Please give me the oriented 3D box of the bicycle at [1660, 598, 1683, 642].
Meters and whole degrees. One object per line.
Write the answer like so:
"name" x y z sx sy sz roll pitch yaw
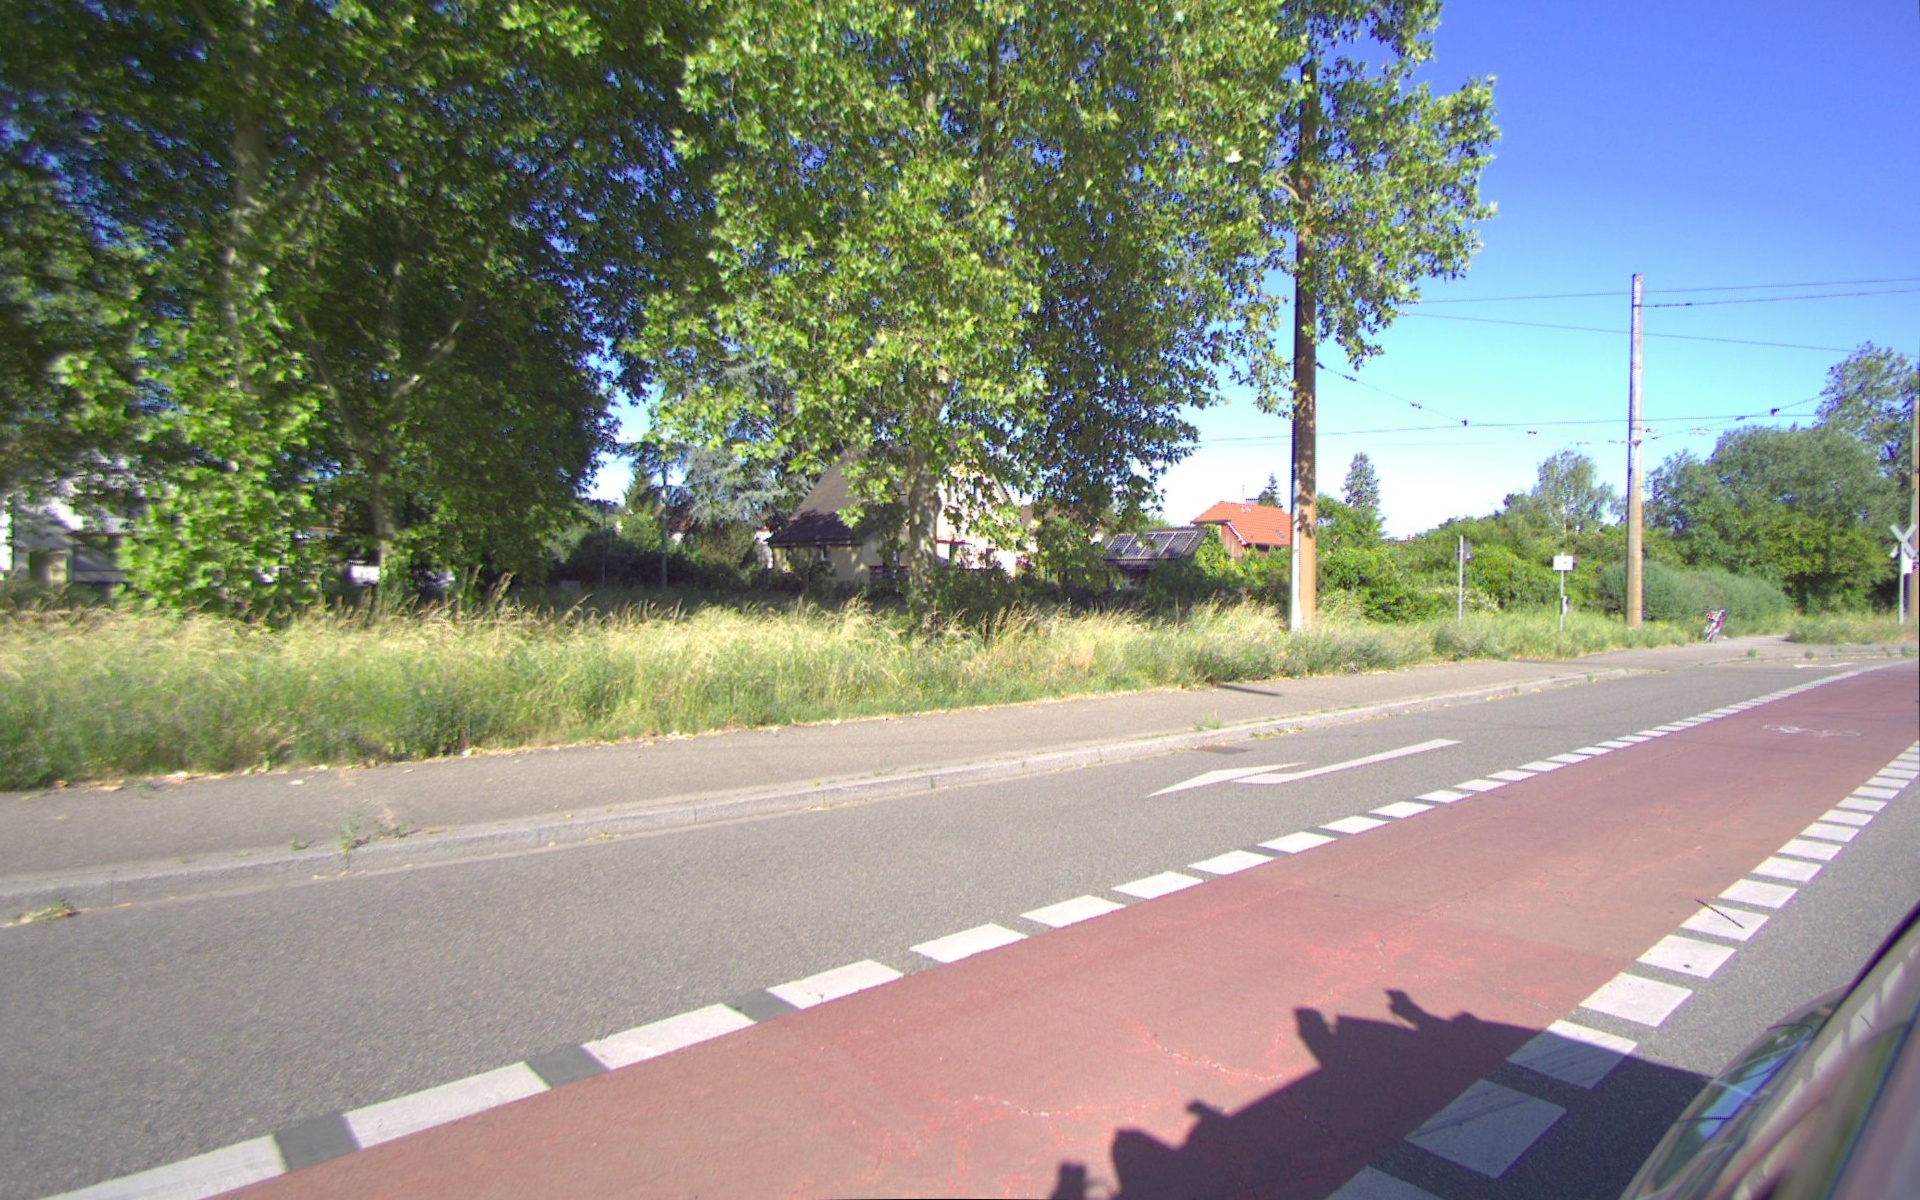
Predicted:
"bicycle" 19.476 0.517 27.707 0.363 1.149 2.072 1 1 32
